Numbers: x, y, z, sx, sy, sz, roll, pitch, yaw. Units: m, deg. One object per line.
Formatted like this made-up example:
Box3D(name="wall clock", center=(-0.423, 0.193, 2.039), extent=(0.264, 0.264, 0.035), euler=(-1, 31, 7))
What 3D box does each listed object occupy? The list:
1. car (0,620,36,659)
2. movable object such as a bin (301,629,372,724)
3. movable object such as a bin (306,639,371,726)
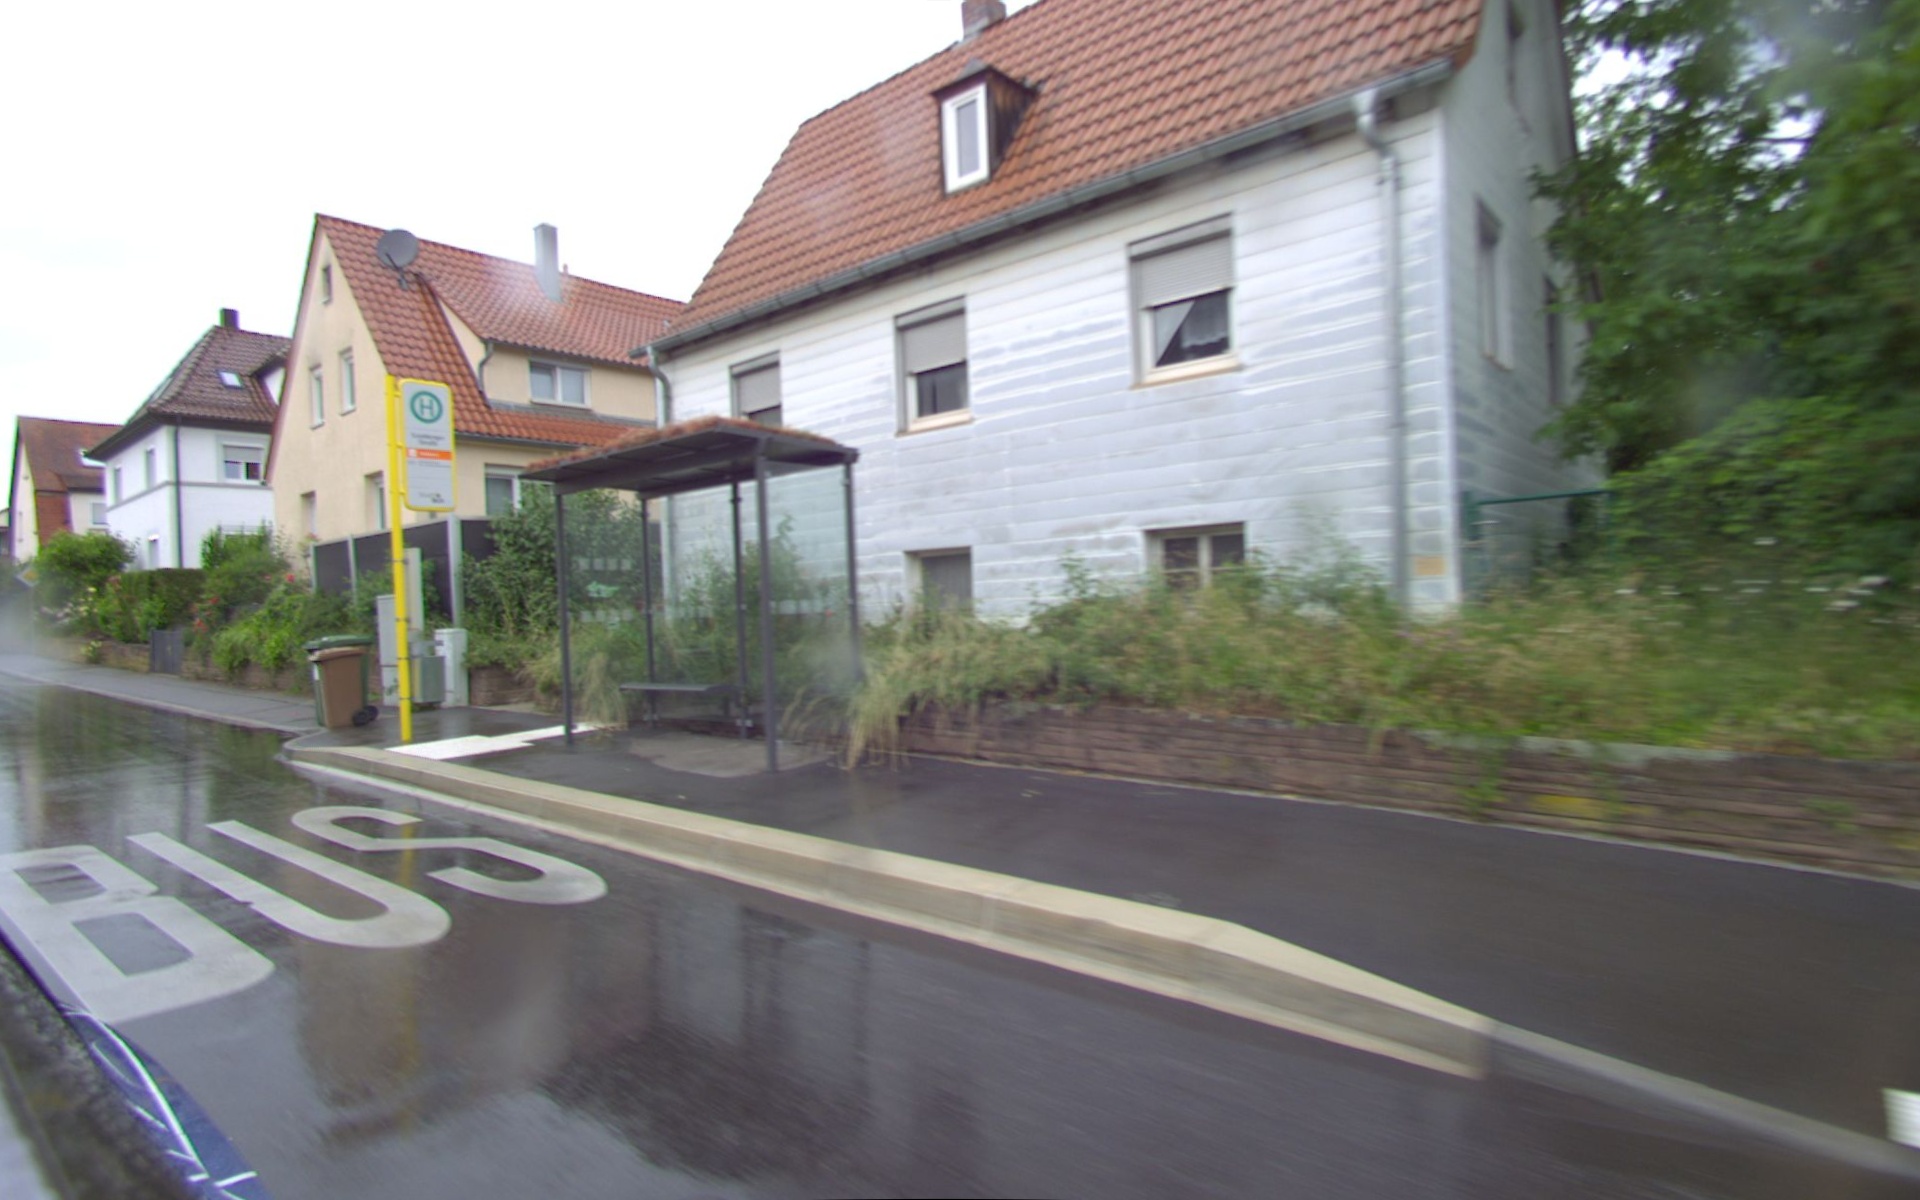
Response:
Box3D(name="car", center=(-54.185, 2.022, 56.016), extent=(1.870, 1.990, 3.952), euler=(-1, -11, 37))
Box3D(name="movable object such as a bin", center=(-7.684, 0.924, 12.475), extent=(0.527, 1.090, 0.547), euler=(-1, 3, 42))
Box3D(name="movable object such as a bin", center=(-7.311, 0.964, 11.908), extent=(0.454, 0.946, 0.463), euler=(-4, 1, 42))
